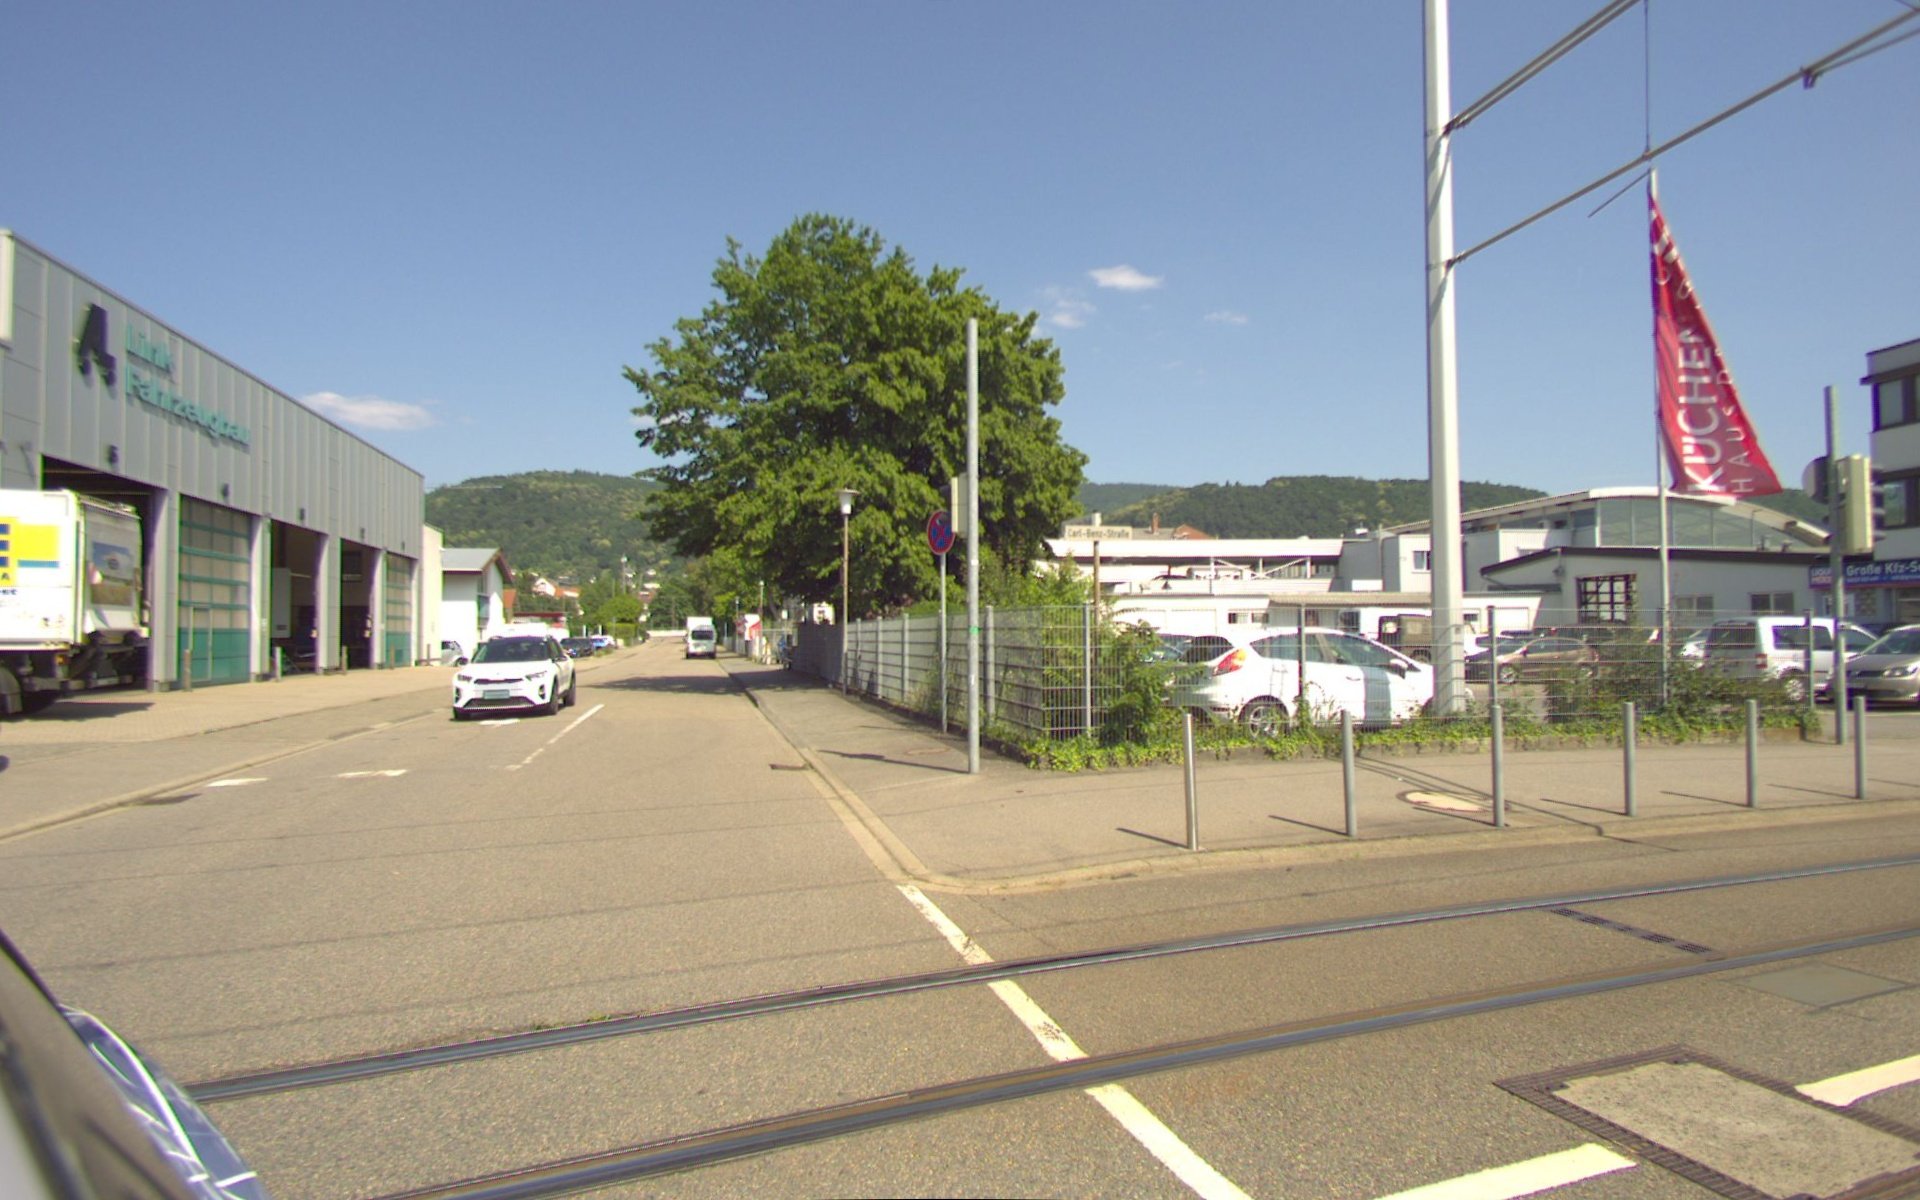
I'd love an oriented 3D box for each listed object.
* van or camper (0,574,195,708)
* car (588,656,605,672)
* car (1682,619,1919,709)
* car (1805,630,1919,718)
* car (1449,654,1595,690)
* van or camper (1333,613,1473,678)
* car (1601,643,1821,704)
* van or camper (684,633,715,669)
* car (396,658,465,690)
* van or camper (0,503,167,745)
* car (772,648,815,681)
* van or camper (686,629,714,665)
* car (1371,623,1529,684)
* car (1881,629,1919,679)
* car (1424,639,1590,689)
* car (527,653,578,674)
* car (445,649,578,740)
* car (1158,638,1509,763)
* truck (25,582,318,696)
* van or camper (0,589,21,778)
[{"bbox_3d":[-22.682,1.030,25.547,4.973,3.230,2.006,0,-2,-16],"label":"van or camper"},{"bbox_3d":[-34.650,6.046,96.551,1.428,1.389,3.196,-2,-2,-18],"label":"car"},{"bbox_3d":[18.195,1.344,21.716,3.940,1.798,2.002,0,-2,-4],"label":"car"},{"bbox_3d":[18.799,1.359,19.272,3.876,1.580,1.858,0,-3,-4],"label":"car"},{"bbox_3d":[16.982,2.167,30.688,3.435,0.991,1.751,0,-3,-4],"label":"car"},{"bbox_3d":[16.671,1.689,38.191,4.529,2.323,1.784,0,-2,-8],"label":"van or camper"},{"bbox_3d":[18.015,1.735,24.396,3.940,1.369,1.849,0,-3,-4],"label":"car"},{"bbox_3d":[-18.087,3.491,70.180,1.995,2.395,4.698,1,-3,-15],"label":"van or camper"},{"bbox_3d":[-26.465,3.691,50.631,1.307,1.546,2.795,-4,-4,28],"label":"car"},{"bbox_3d":[-19.526,0.299,15.275,11.436,3.721,2.790,2,-4,-21],"label":"van or camper"},{"bbox_3d":[-8.249,3.153,49.903,1.618,1.469,3.535,-2,-2,-16],"label":"car"},{"bbox_3d":[-25.708,4.634,99.903,2.484,3.396,5.607,1,-3,-15],"label":"van or camper"},{"bbox_3d":[17.141,1.853,35.513,4.509,2.029,2.061,0,-3,-6],"label":"car"},{"bbox_3d":[29.415,1.587,29.859,3.088,1.437,1.421,0,-3,0],"label":"car"},{"bbox_3d":[17.868,2.079,33.184,4.357,1.569,1.994,0,-3,-5],"label":"car"},{"bbox_3d":[-26.809,4.175,66.660,2.928,1.350,1.457,0,-3,-14],"label":"car"},{"bbox_3d":[-8.618,1.749,19.765,1.708,1.542,4.120,0,-3,-15],"label":"car"},{"bbox_3d":[4.722,1.222,13.006,3.889,1.444,1.717,1,-2,-12],"label":"car"},{"bbox_3d":[-27.698,1.398,35.956,7.729,3.811,2.631,0,-3,-14],"label":"truck"},{"bbox_3d":[-11.534,0.787,8.900,4.480,1.922,2.005,2,-4,-35],"label":"van or camper"}]
